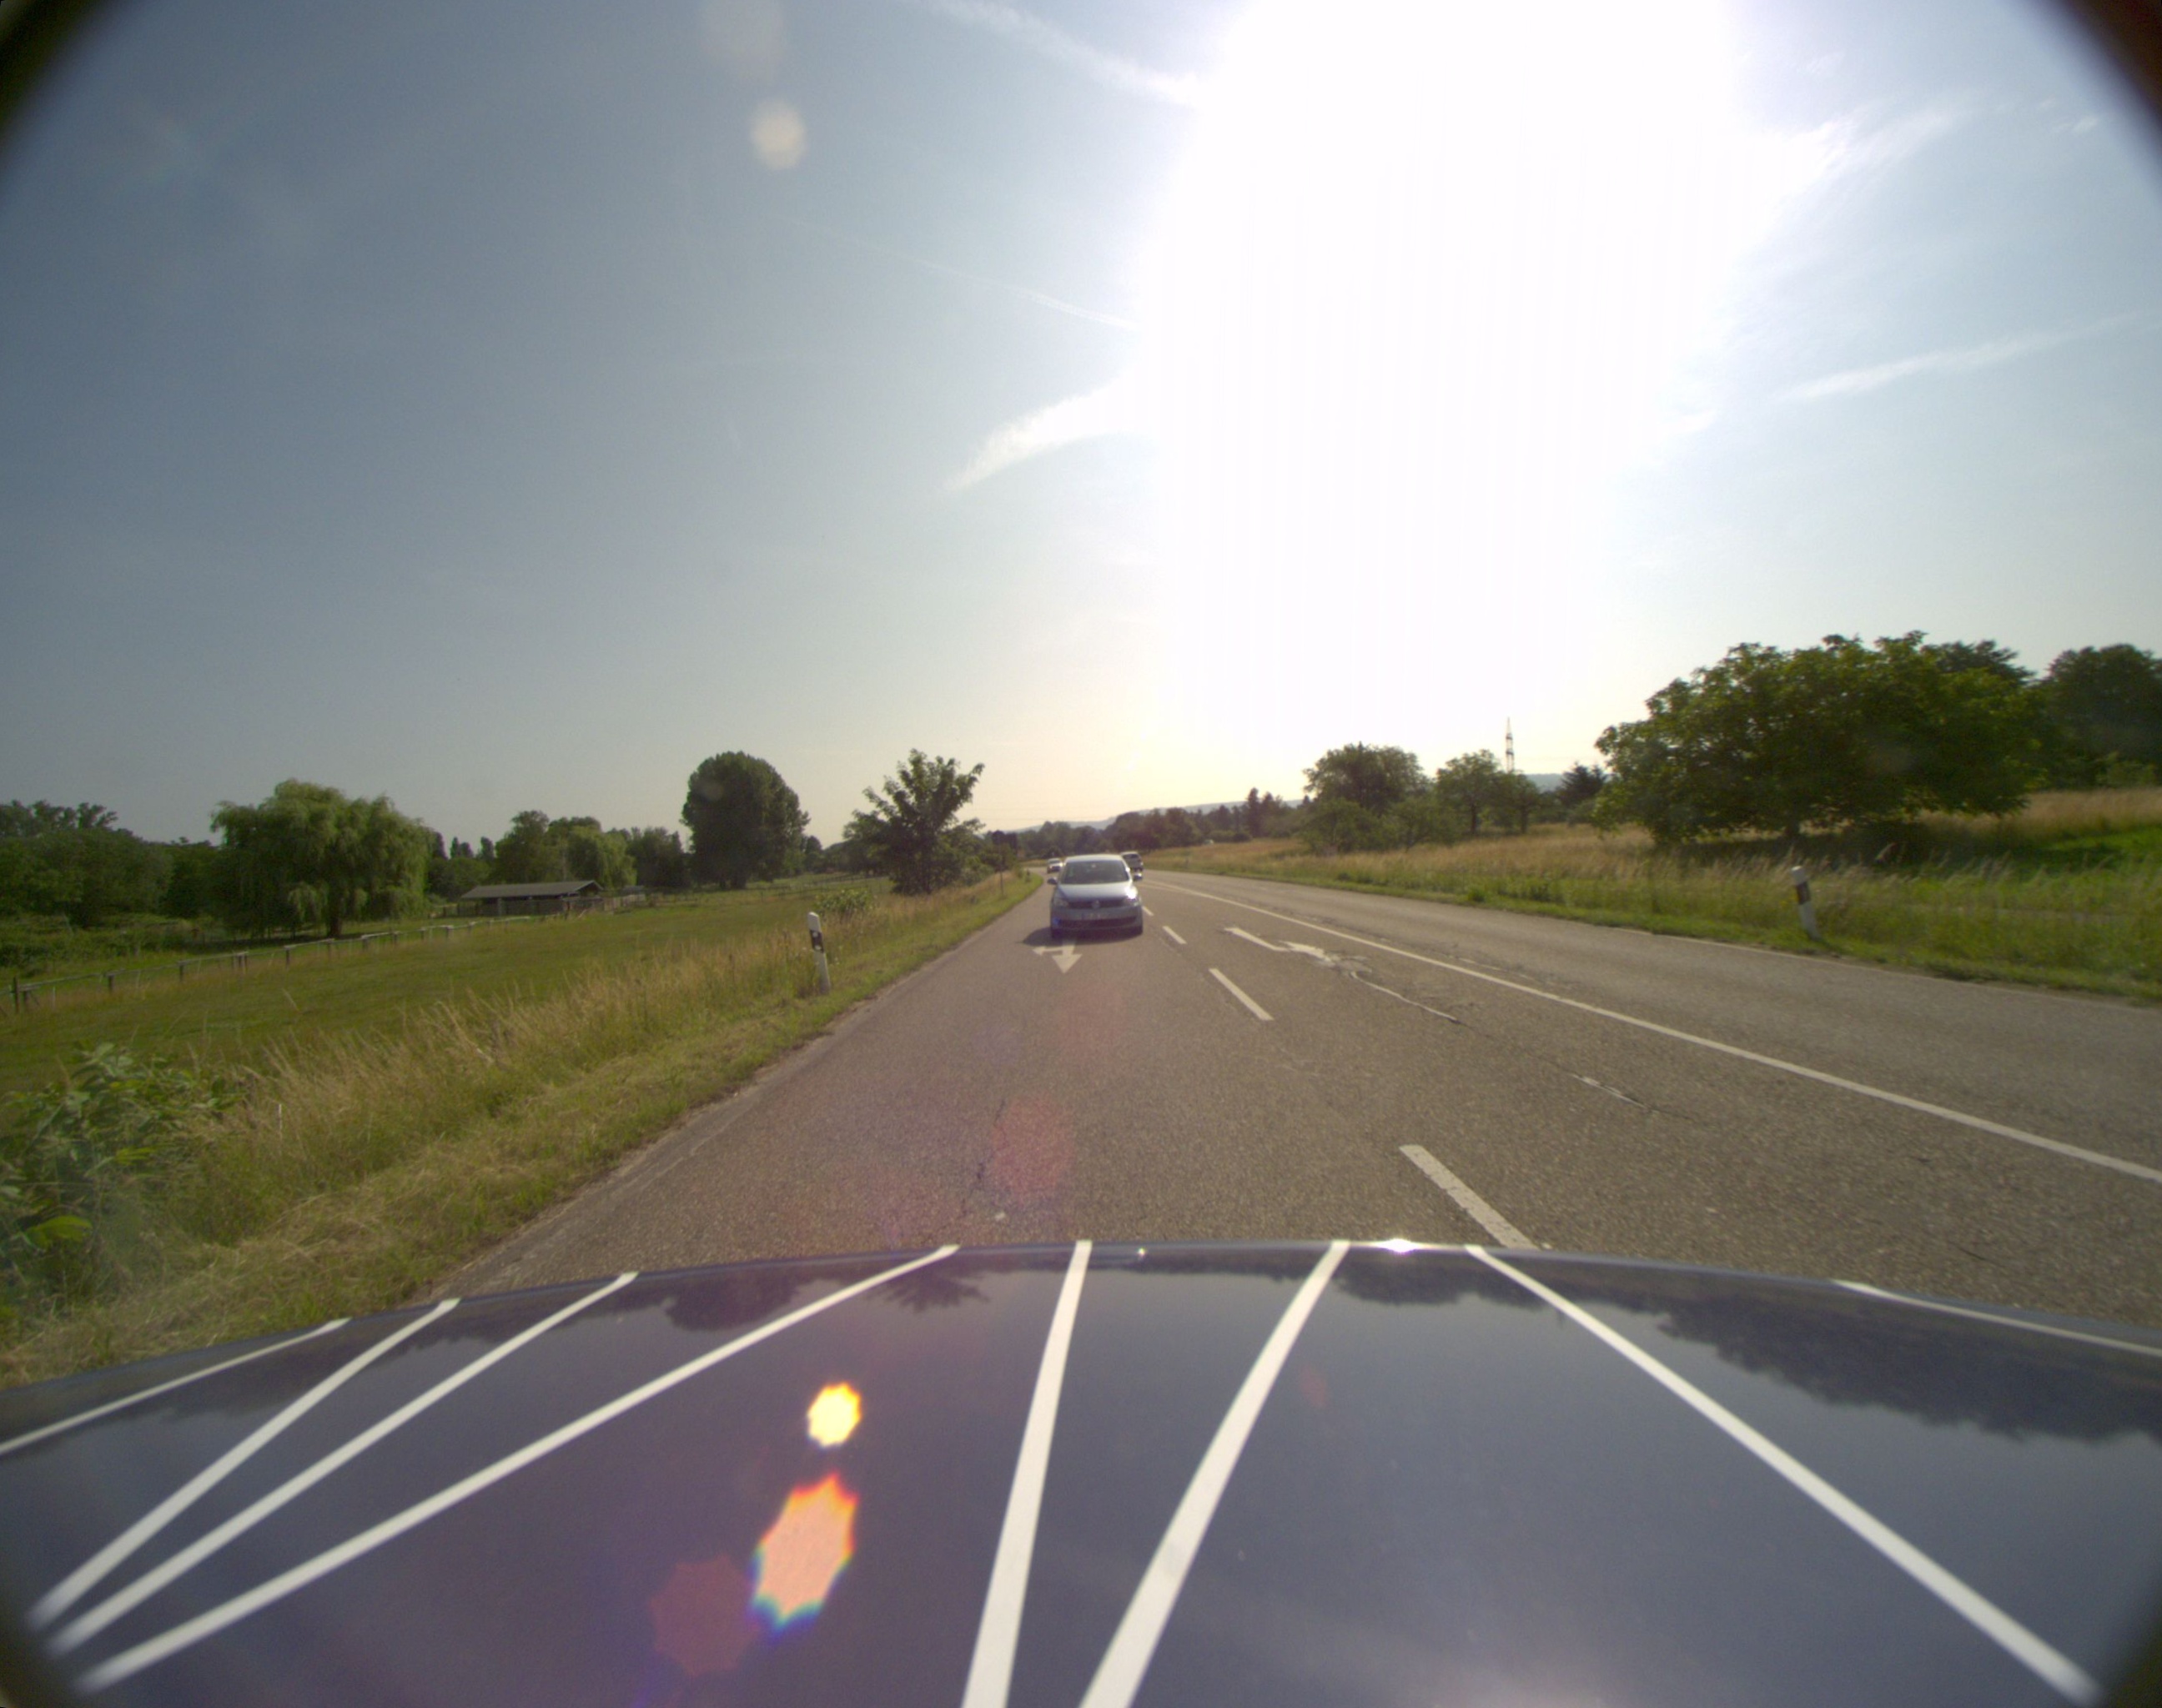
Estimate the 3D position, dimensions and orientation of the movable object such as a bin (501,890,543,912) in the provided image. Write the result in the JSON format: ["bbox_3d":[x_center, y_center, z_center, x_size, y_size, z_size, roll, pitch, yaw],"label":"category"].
[{"bbox_3d":[-64.672,5.452,88.030,2.000,2.181,4.161,-5,0,-9],"label":"movable object such as a bin"}]

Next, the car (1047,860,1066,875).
[{"bbox_3d":[-2.799,1.529,87.136,1.999,1.570,3.908,-4,0,-2],"label":"car"}]

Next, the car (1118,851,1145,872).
[{"bbox_3d":[4.023,0.566,61.085,1.817,1.576,4.224,-2,0,0],"label":"car"}]

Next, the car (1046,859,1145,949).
[{"bbox_3d":[0.370,0.909,15.605,1.717,1.495,4.094,-2,1,3],"label":"car"}]
